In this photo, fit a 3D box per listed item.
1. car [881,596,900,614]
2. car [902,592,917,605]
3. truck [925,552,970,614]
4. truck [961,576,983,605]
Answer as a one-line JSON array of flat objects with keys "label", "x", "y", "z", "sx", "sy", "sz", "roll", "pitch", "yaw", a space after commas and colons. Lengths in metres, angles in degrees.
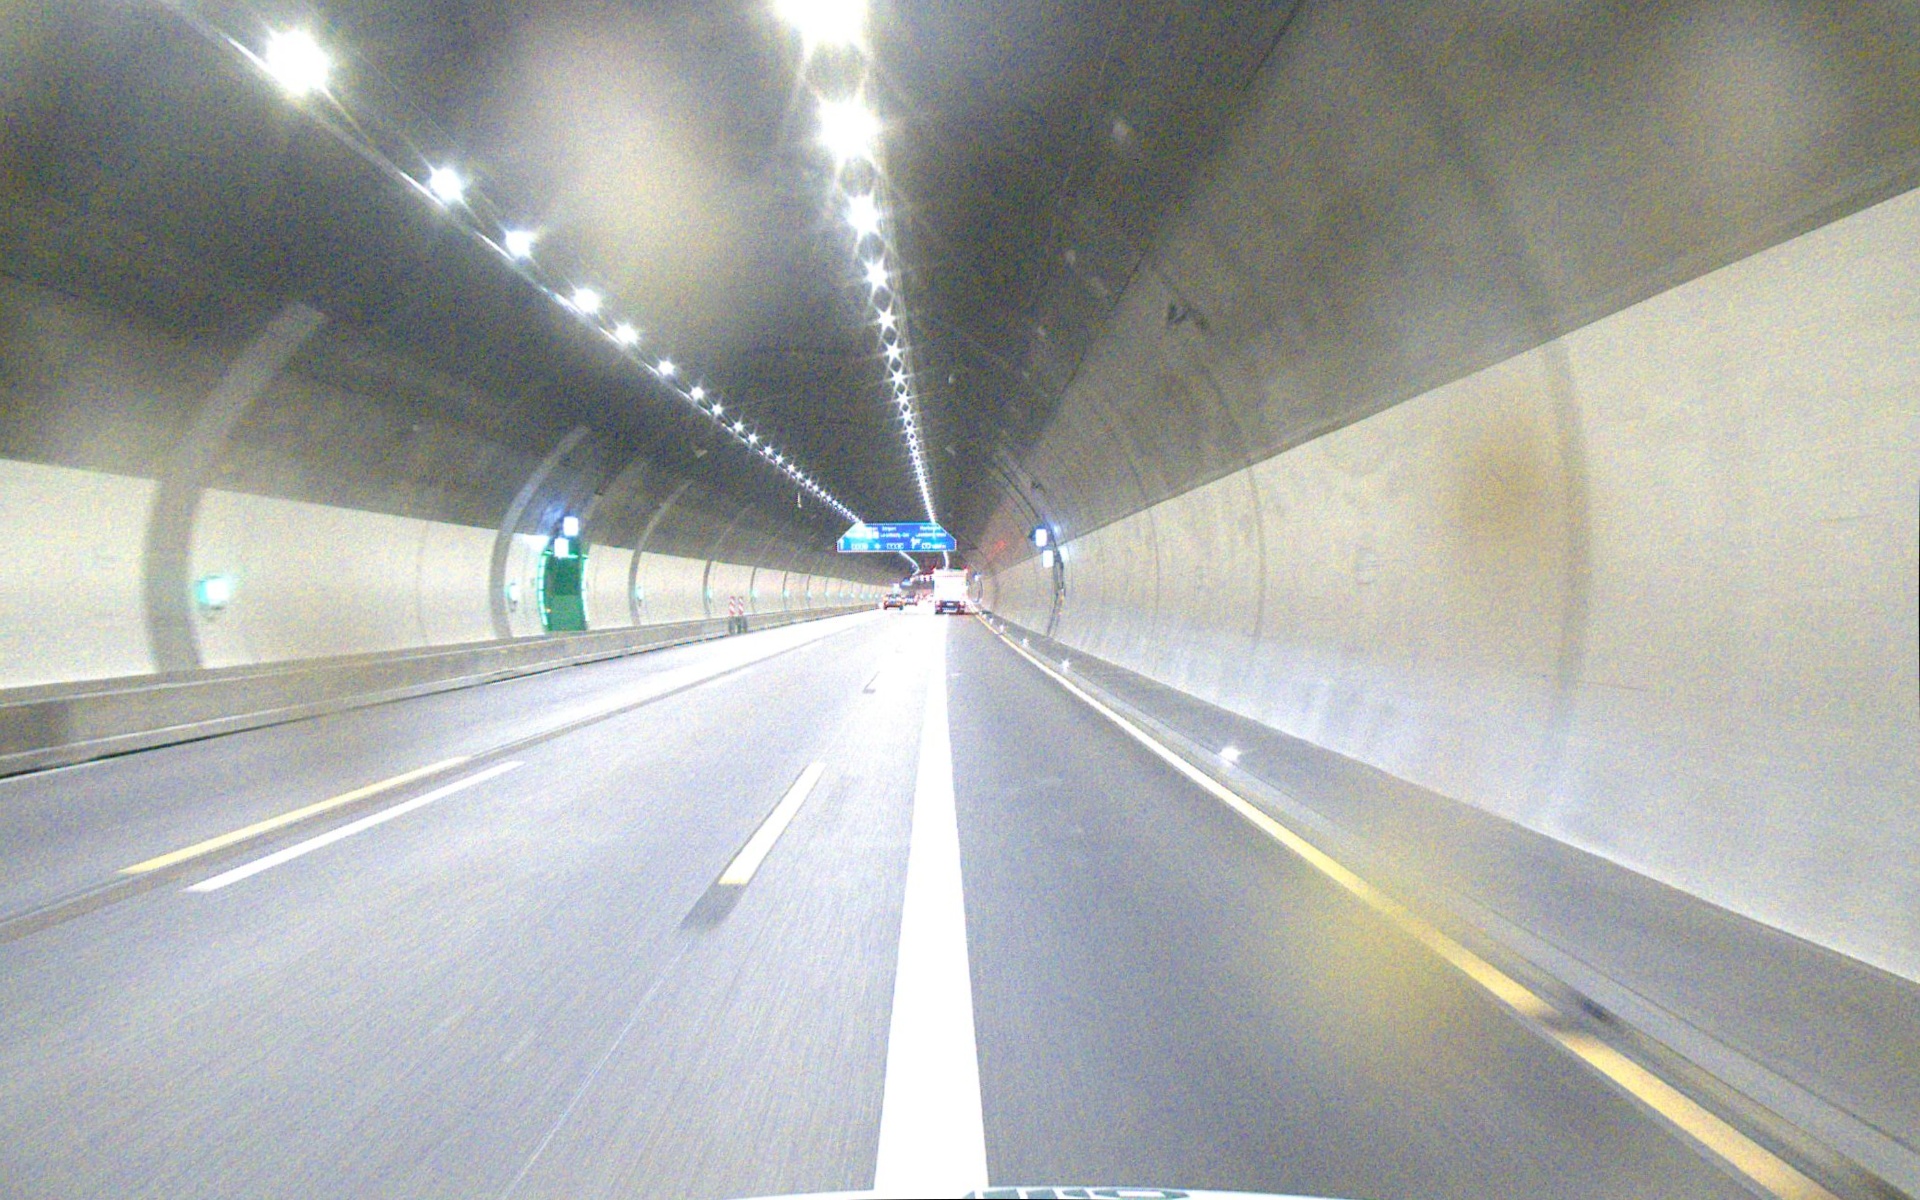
[{"label": "car", "x": -6.700, "y": 0.432, "z": 158.733, "sx": 1.776, "sy": 1.646, "sz": 3.998, "roll": 1, "pitch": 0, "yaw": -3}, {"label": "car", "x": -6.555, "y": -0.208, "z": 214.880, "sx": 1.777, "sy": 1.546, "sz": 3.998, "roll": 1, "pitch": 2, "yaw": -4}, {"label": "truck", "x": -1.152, "y": -1.338, "z": 136.712, "sx": 3.212, "sy": 4.731, "sz": 17.279, "roll": 0, "pitch": 0, "yaw": -2}, {"label": "truck", "x": 1.785, "y": -1.422, "z": 249.981, "sx": 2.864, "sy": 4.118, "sz": 14.024, "roll": 0, "pitch": 0, "yaw": -2}]
